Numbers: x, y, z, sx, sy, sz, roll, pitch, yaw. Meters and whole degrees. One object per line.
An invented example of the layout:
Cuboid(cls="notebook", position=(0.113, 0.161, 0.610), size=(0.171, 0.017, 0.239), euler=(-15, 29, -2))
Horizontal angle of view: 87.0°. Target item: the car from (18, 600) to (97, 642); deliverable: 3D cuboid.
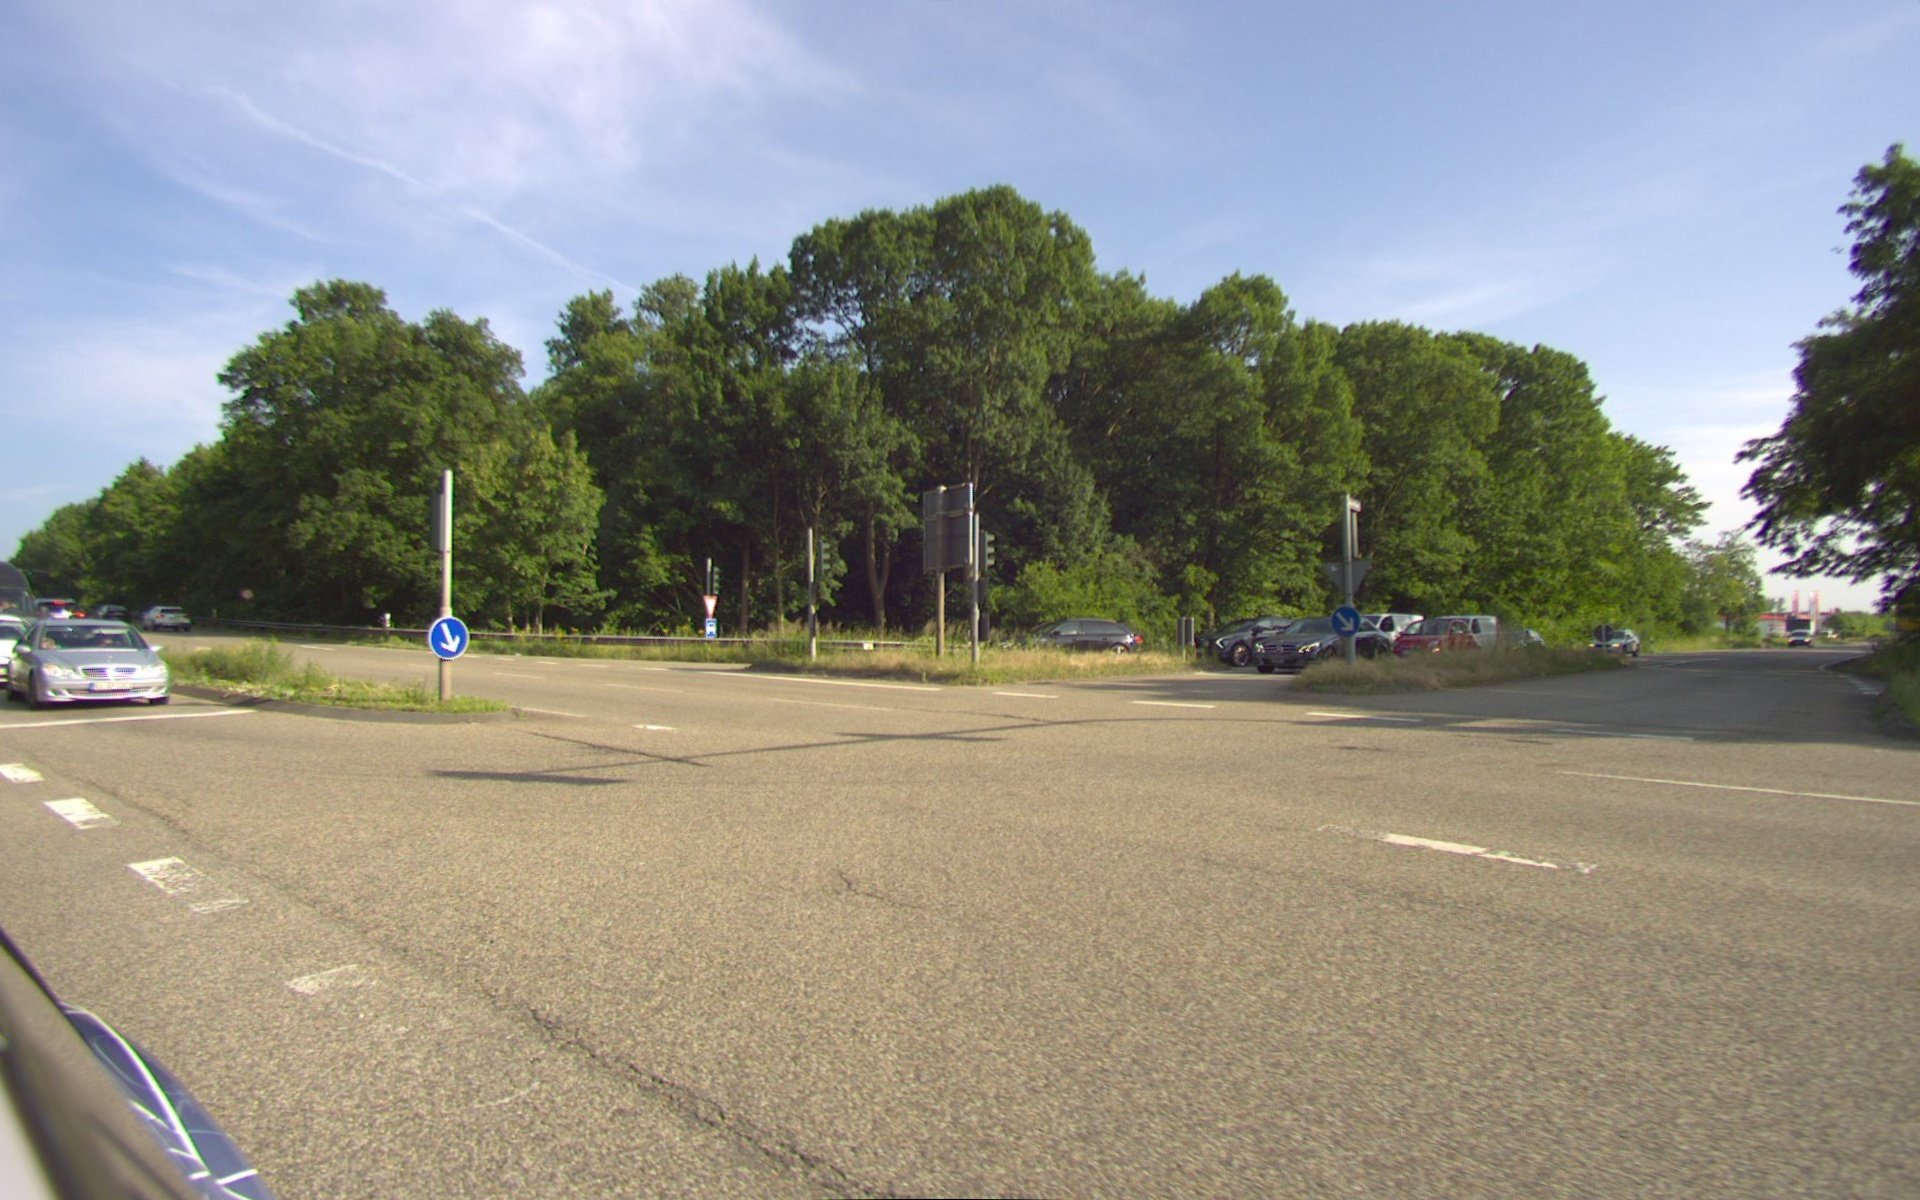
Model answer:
Cuboid(cls="car", position=(-41.553, 0.966, 46.556), size=(4.754, 1.777, 2.054), euler=(0, -3, 41))

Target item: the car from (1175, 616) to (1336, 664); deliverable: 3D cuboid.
Cuboid(cls="car", position=(9.626, 1.256, 32.853), size=(5.115, 1.353, 2.059), euler=(-1, 0, -30))

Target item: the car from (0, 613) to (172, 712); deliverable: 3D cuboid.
Cuboid(cls="car", position=(-14.972, 0.963, 17.115), size=(4.800, 1.432, 1.717), euler=(0, -2, 41))

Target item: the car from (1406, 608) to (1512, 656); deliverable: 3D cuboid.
Cuboid(cls="car", position=(20.022, 1.219, 40.532), size=(4.580, 1.740, 2.195), euler=(-1, 0, -41))

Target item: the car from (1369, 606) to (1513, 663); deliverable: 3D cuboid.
Cuboid(cls="car", position=(14.628, 0.977, 30.665), size=(4.912, 1.501, 2.211), euler=(-1, 0, -42))

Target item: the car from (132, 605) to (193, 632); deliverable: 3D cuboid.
Cuboid(cls="car", position=(-48.362, 1.124, 61.363), size=(4.258, 1.515, 1.865), euler=(0, -3, 38))

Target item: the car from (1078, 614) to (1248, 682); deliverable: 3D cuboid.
Cuboid(cls="car", position=(5.262, 1.161, 25.928), size=(4.352, 1.501, 2.003), euler=(-1, 0, -40))

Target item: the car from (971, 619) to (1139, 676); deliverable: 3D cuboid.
Cuboid(cls="car", position=(2.776, 1.349, 29.865), size=(4.483, 1.501, 2.006), euler=(-1, 0, -18))

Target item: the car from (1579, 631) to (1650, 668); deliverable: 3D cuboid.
Cuboid(cls="car", position=(36.249, 2.697, 55.994), size=(4.580, 1.740, 2.137), euler=(-1, 0, -41))

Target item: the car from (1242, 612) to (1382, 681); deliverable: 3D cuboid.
Cuboid(cls="car", position=(8.935, 1.081, 25.457), size=(1.998, 1.501, 4.364), euler=(0, 0, 39))

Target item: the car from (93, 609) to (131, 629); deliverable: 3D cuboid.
Cuboid(cls="car", position=(-67.225, 1.510, 80.191), size=(3.975, 1.515, 1.698), euler=(0, -3, 42))

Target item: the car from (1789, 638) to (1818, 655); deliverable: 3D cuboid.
Cuboid(cls="car", position=(86.466, 4.731, 103.713), size=(3.767, 1.548, 1.693), euler=(-1, 0, -41))

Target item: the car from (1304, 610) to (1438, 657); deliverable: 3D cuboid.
Cuboid(cls="car", position=(14.732, 1.131, 36.133), size=(4.992, 1.501, 2.451), euler=(-1, 0, -41))

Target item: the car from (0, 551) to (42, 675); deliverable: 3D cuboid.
Cuboid(cls="car", position=(-25.291, 0.307, 25.779), size=(7.012, 2.910, 2.185), euler=(0, -2, 43))

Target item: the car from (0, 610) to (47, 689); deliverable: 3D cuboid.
Cuboid(cls="car", position=(-19.767, 0.939, 20.325), size=(4.102, 1.501, 1.628), euler=(0, -2, 41))

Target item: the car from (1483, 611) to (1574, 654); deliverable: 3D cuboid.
Cuboid(cls="car", position=(25.475, 1.389, 45.303), size=(4.580, 1.740, 2.137), euler=(-1, 0, -41))
